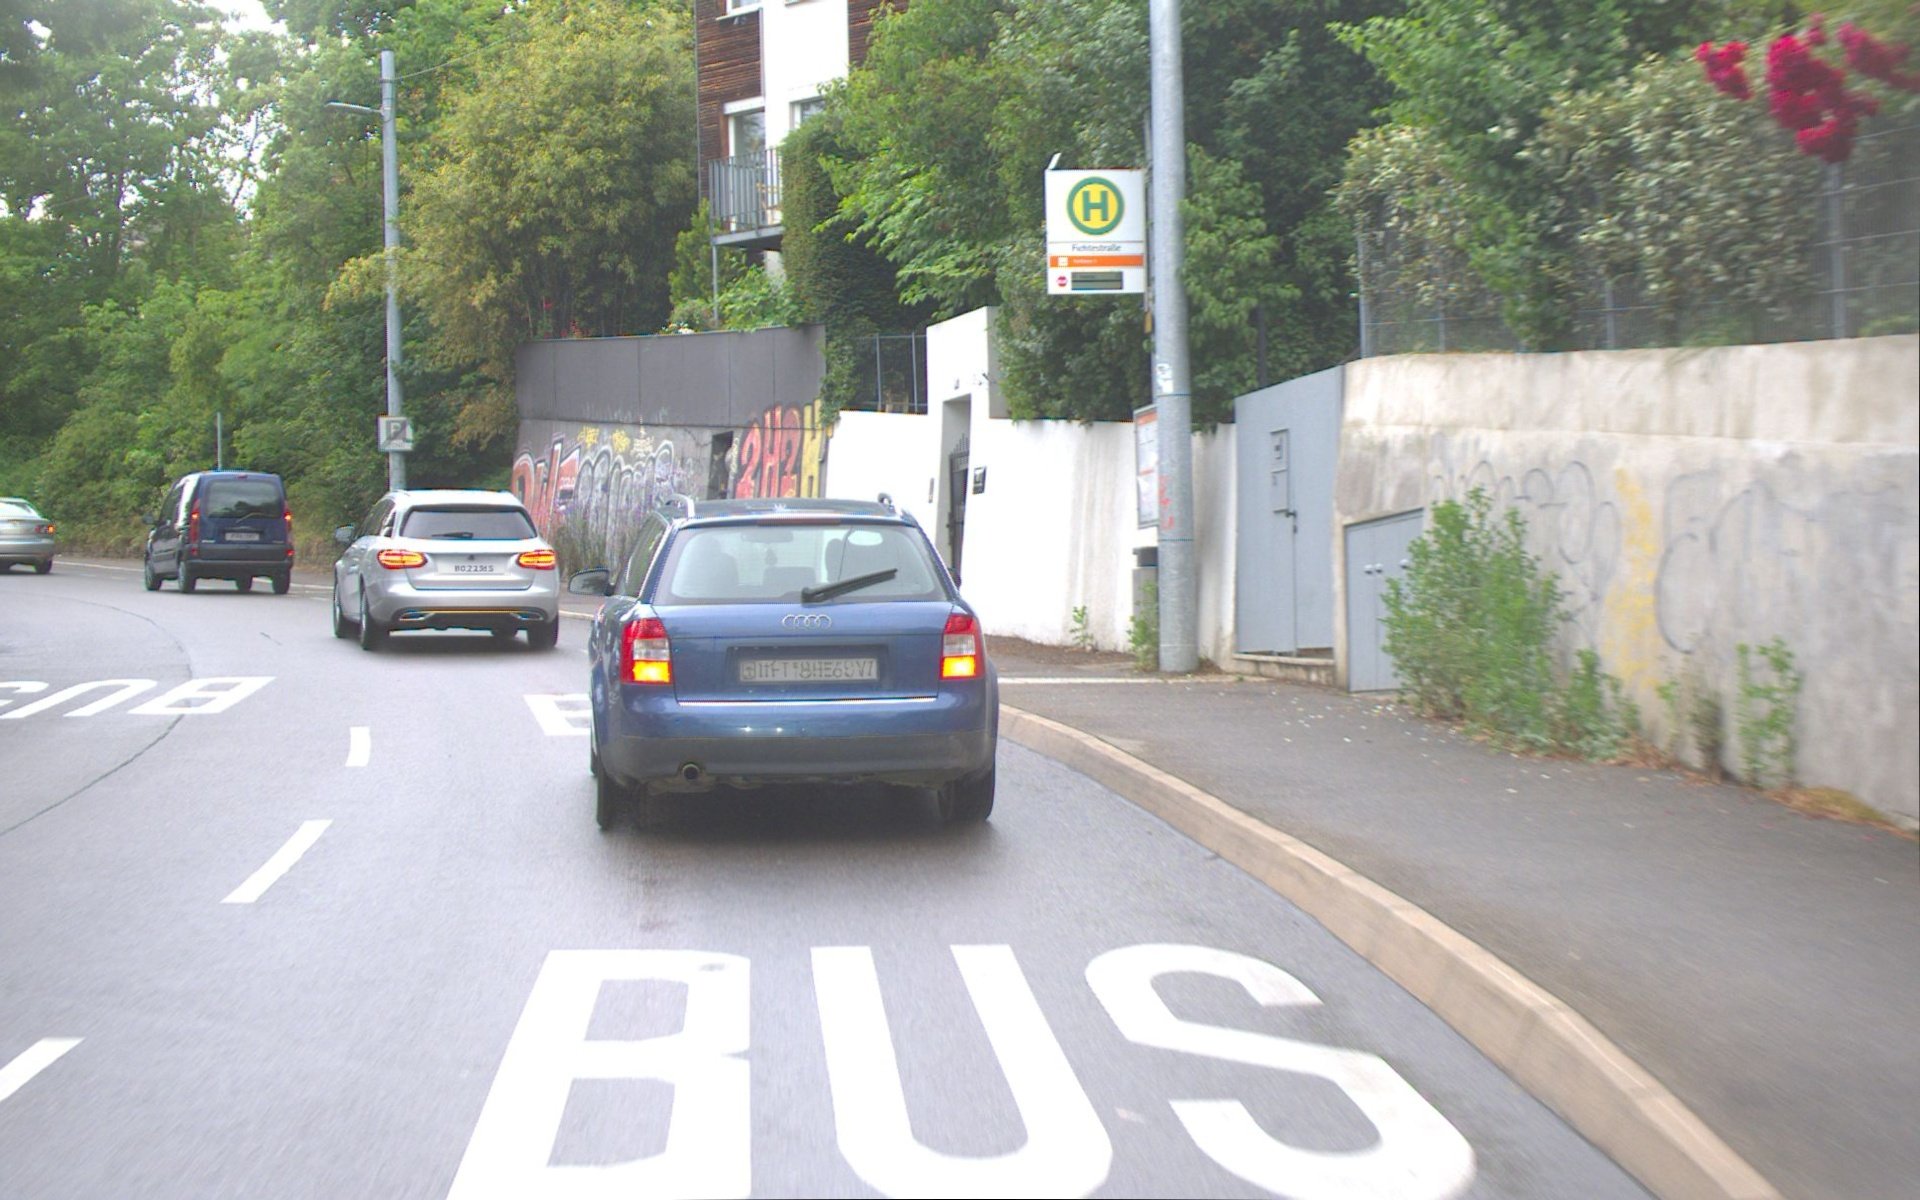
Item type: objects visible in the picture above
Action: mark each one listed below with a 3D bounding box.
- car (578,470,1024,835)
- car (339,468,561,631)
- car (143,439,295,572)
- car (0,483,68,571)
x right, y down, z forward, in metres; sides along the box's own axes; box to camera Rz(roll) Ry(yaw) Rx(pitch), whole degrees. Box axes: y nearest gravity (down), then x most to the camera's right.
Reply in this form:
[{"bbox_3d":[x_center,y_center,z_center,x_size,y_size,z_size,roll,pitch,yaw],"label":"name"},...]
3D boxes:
[{"bbox_3d":[-0.859,0.151,15.925,1.777,1.434,4.001,-1,2,-6],"label":"car"},{"bbox_3d":[-4.878,-0.489,32.514,1.908,1.383,4.352,2,1,-10],"label":"car"},{"bbox_3d":[-11.357,-1.452,52.535,1.730,1.888,4.057,-3,2,-19],"label":"car"},{"bbox_3d":[-18.199,-1.358,64.413,1.766,1.564,4.030,-3,3,-31],"label":"car"}]
